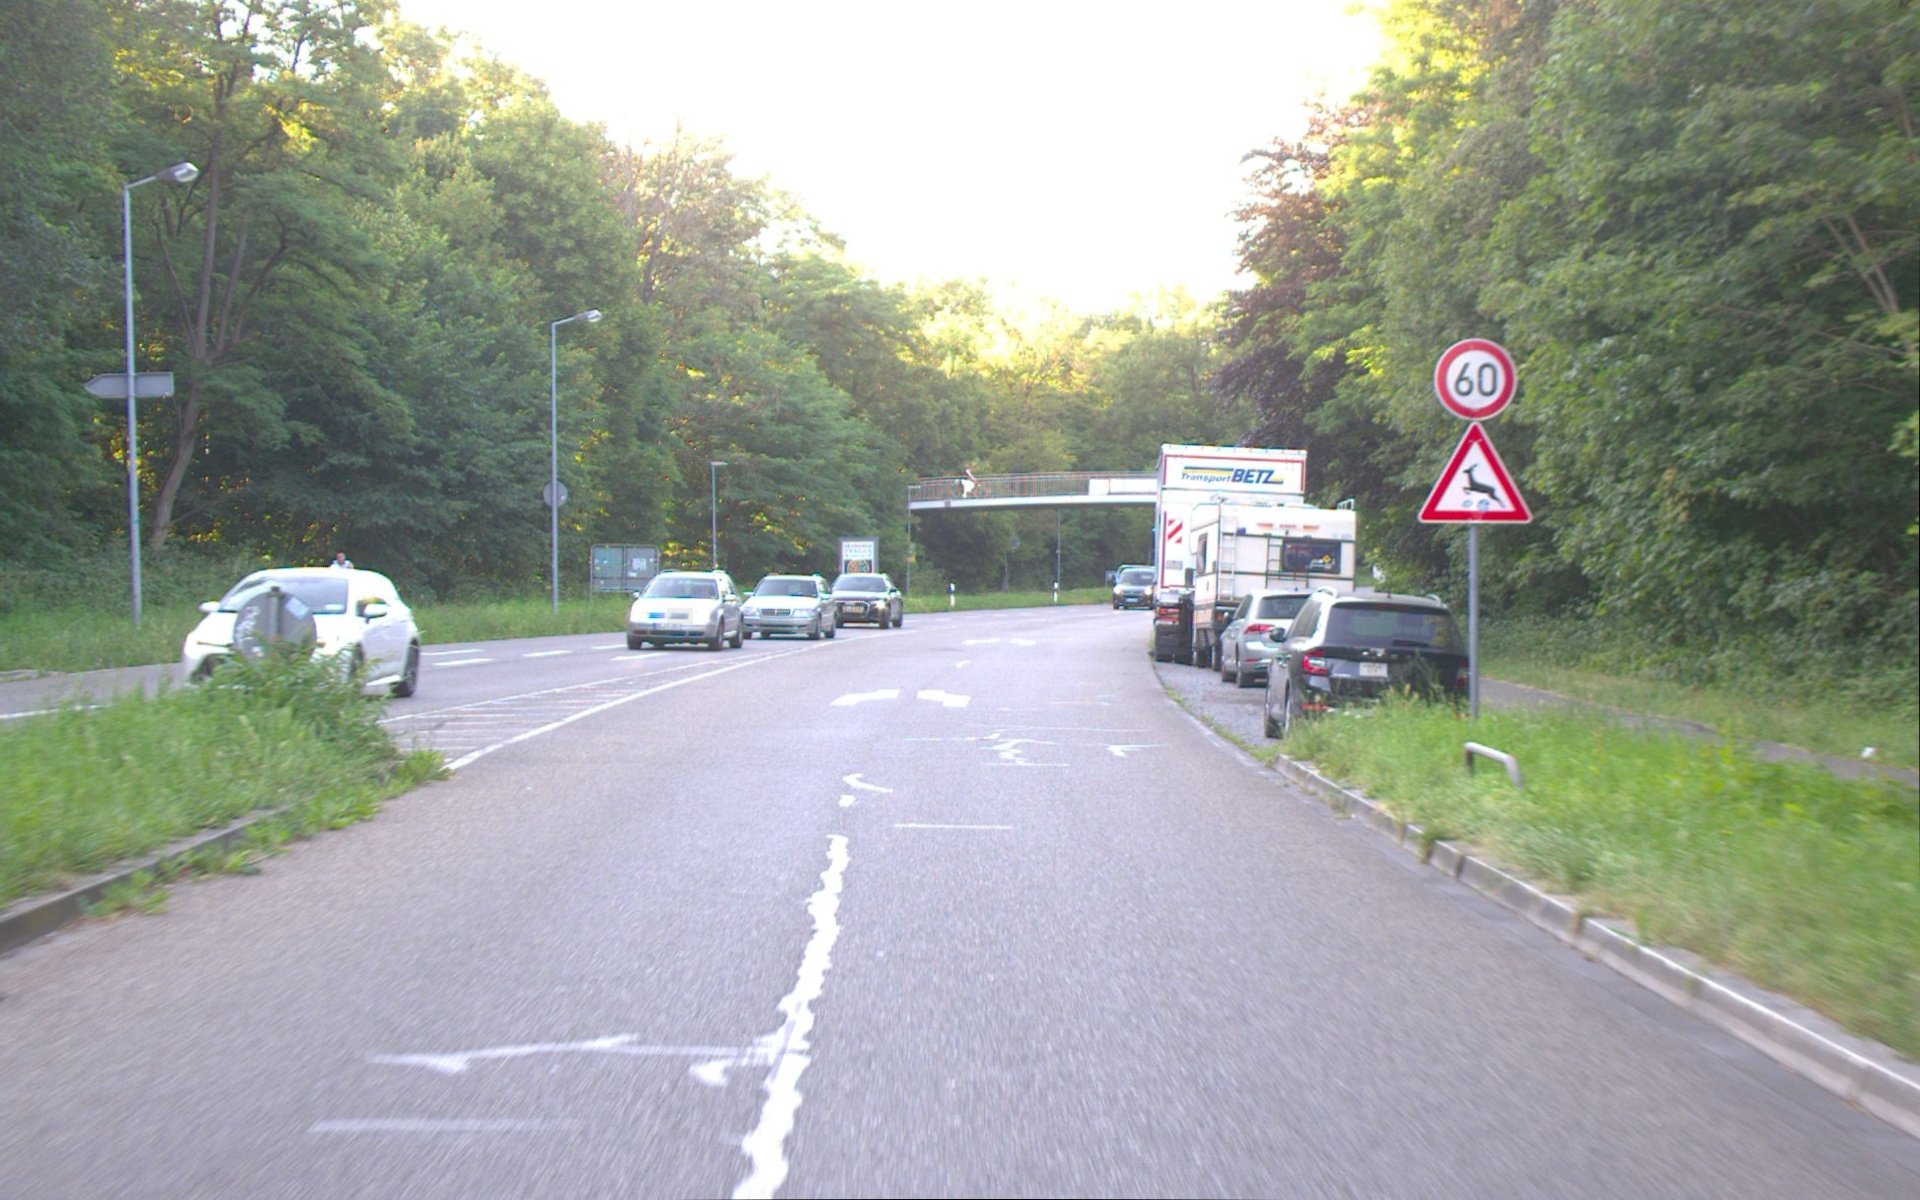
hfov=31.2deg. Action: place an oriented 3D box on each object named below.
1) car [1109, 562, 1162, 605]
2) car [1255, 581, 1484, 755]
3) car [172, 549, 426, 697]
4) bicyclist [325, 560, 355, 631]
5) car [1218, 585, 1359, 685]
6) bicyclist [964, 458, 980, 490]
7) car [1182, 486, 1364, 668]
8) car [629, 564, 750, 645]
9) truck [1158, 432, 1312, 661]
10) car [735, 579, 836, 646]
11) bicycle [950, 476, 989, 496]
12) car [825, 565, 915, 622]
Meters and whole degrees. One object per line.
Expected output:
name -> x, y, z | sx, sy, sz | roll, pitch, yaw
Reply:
car -> 7.680, -0.724, 150.452 | 1.844, 1.794, 4.746 | 2, 0, 8
car -> 3.650, 0.568, 31.204 | 1.663, 1.401, 3.942 | 3, 0, 2
car -> -7.097, 0.275, 37.258 | 1.836, 1.502, 3.937 | 0, -1, 3
bicyclist -> -13.379, -0.110, 74.165 | 0.620, 1.506, 0.847 | -1, 1, -10
car -> 4.828, 0.493, 50.962 | 1.698, 1.401, 4.076 | 0, 0, 0
bicyclist -> 0.596, -6.323, 173.055 | 0.665, 1.576, 0.547 | 1, 0, 11
car -> 5.190, -0.384, 57.868 | 2.408, 2.848, 5.932 | 1, 0, -1
car -> -5.007, 0.061, 64.088 | 1.716, 1.441, 4.173 | 0, 1, 3
truck -> 5.164, -0.994, 65.874 | 2.658, 4.014, 9.721 | 1, 1, 3
car -> -3.819, 0.256, 75.876 | 1.720, 1.392, 4.374 | 1, 1, 4
bicycle -> 0.474, -5.757, 173.084 | 1.845, 0.946, 0.550 | 2, 0, 11
car -> -2.407, -0.191, 92.729 | 1.892, 1.435, 4.769 | 2, 1, 4
